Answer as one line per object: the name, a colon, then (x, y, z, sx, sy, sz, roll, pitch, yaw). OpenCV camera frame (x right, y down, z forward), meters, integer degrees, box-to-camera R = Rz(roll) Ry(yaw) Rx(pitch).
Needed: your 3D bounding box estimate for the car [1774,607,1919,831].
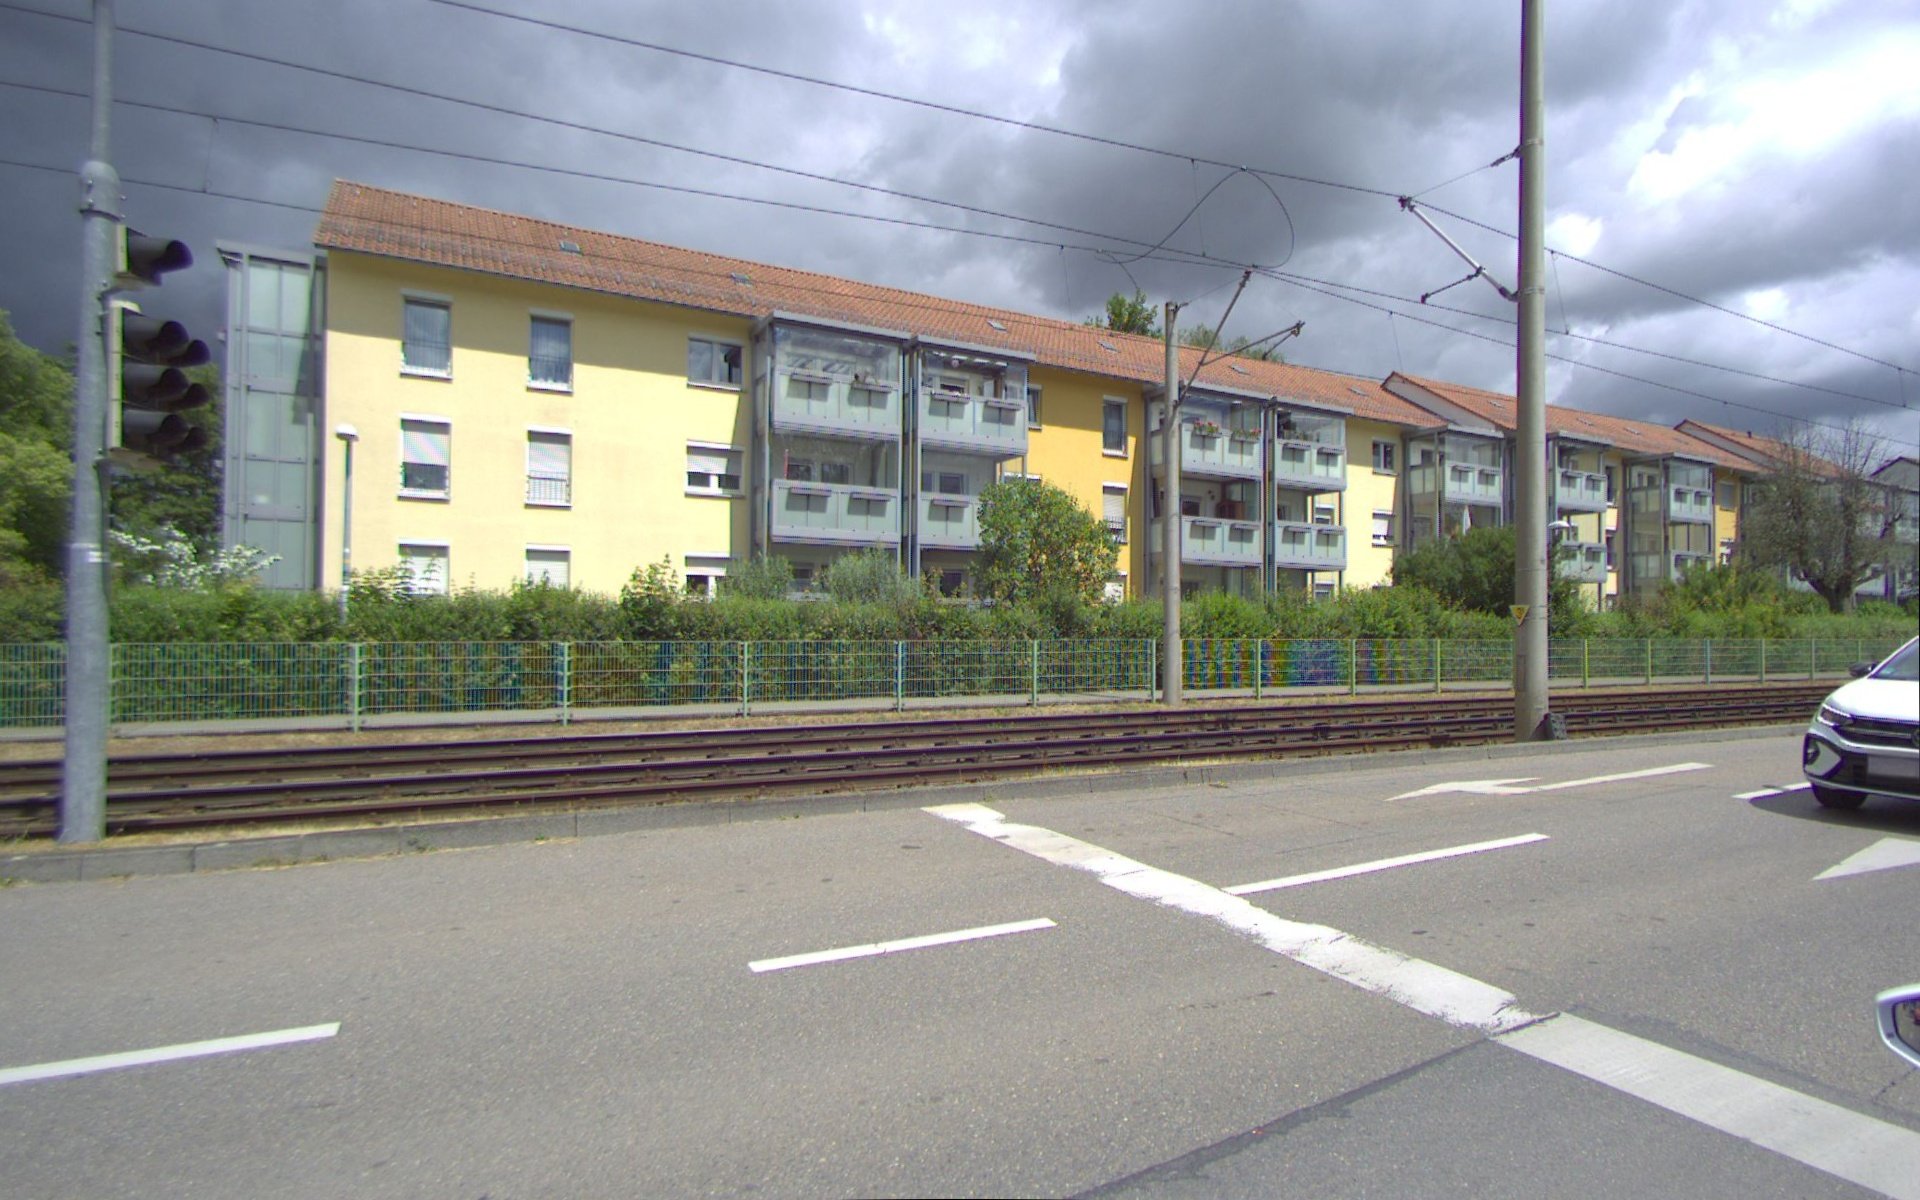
car: (8.486, 0.873, 8.030, 3.952, 1.572, 1.752, 1, -1, -29)
